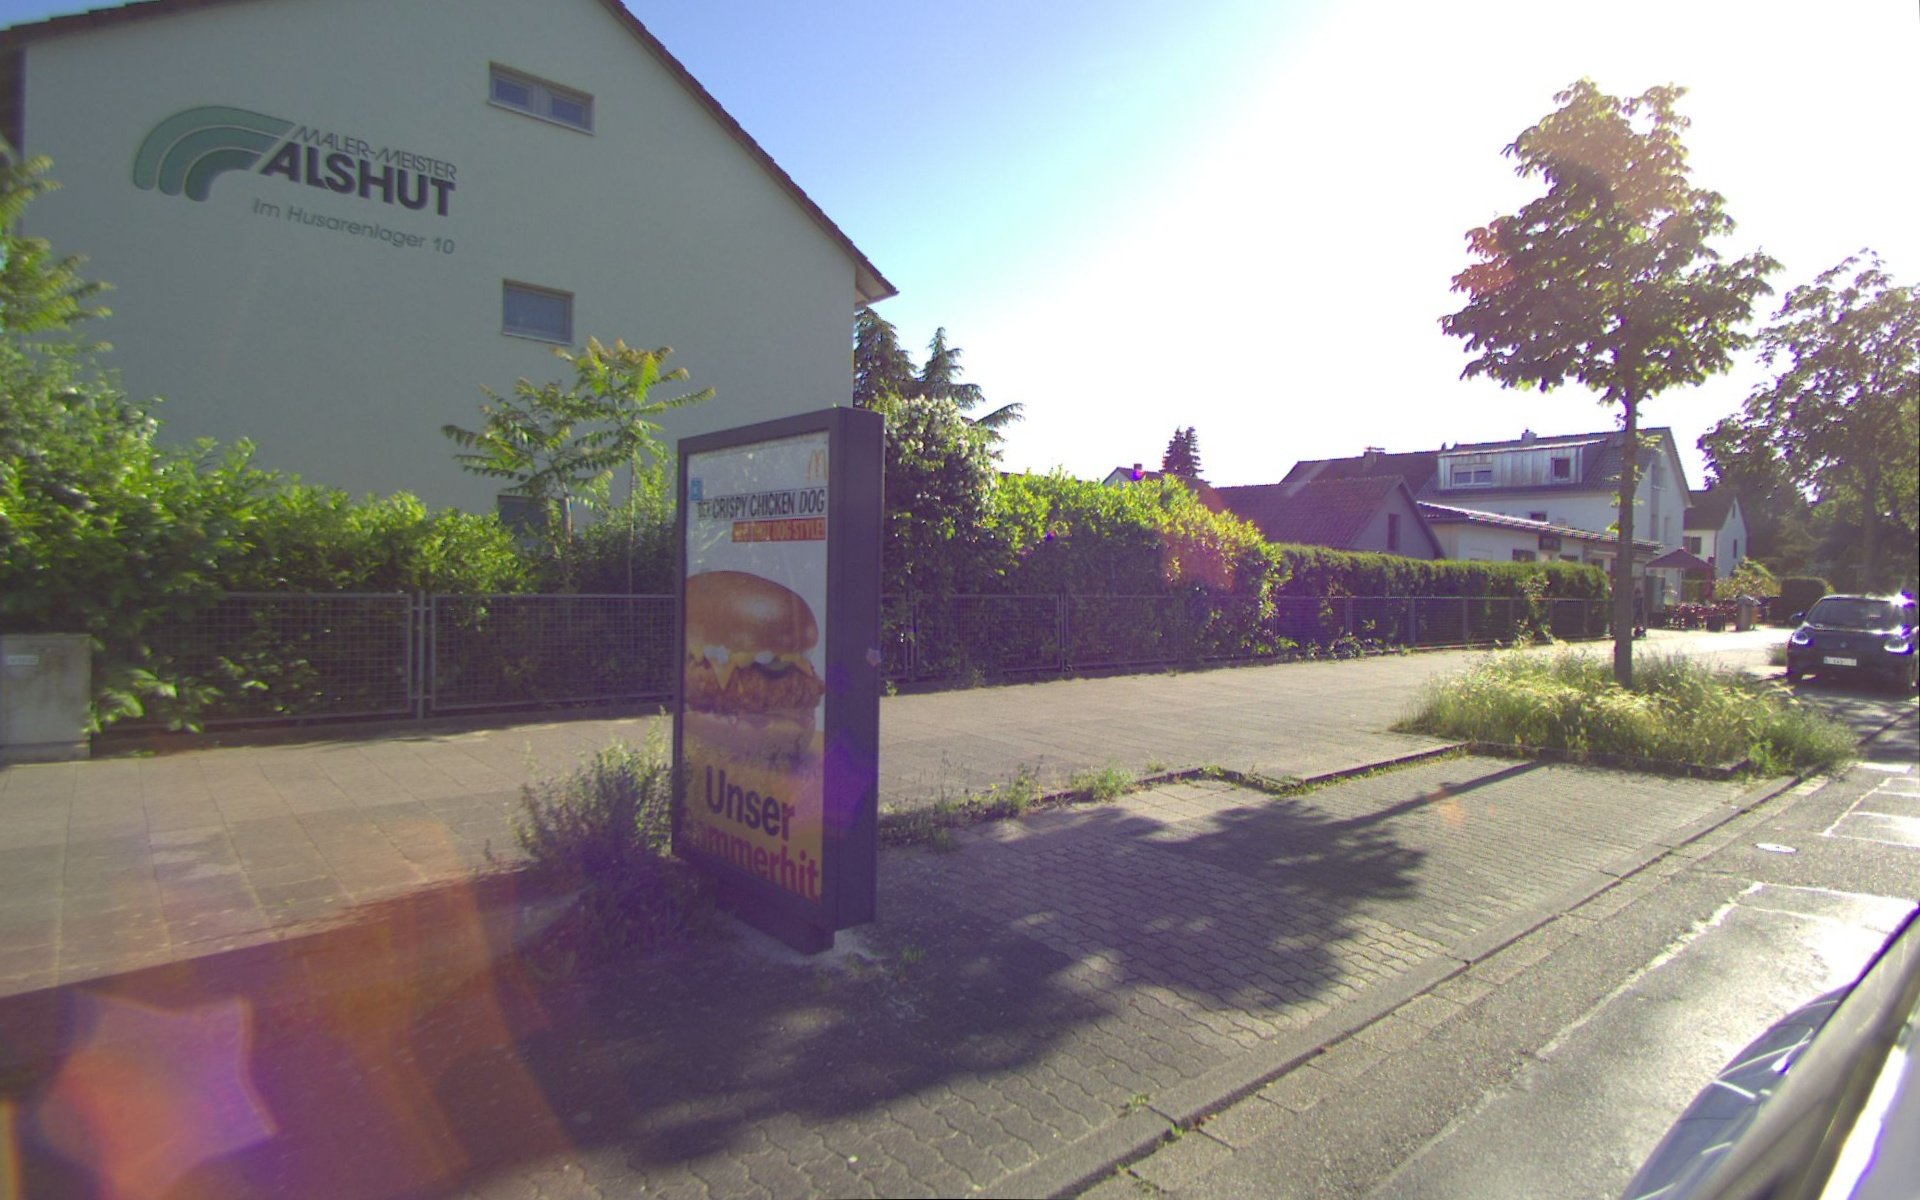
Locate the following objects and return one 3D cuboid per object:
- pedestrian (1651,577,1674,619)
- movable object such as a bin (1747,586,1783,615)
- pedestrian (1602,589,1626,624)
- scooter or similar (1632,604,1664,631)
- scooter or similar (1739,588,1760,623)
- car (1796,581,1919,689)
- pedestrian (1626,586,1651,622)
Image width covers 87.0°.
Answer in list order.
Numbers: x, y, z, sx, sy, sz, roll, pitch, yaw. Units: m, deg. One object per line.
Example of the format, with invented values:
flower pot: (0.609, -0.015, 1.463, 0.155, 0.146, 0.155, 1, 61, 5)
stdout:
pedestrian: (30.619, -0.083, 44.098, 0.722, 1.831, 0.672, 0, 0, -40)
movable object such as a bin: (38.170, 0.019, 47.991, 0.912, 1.310, 1.171, -1, 3, -41)
pedestrian: (25.247, 0.239, 39.065, 0.564, 1.339, 0.640, 0, 0, -40)
scooter or similar: (20.184, 0.509, 29.699, 1.207, 0.725, 0.450, -1, 6, -42)
scooter or similar: (29.659, 0.204, 38.015, 0.454, 1.311, 0.502, 0, 3, -44)
car: (15.842, 0.526, 17.495, 3.538, 1.593, 1.497, 0, 4, -41)
pedestrian: (25.773, 0.148, 38.444, 0.564, 1.339, 0.640, 0, 0, -40)
